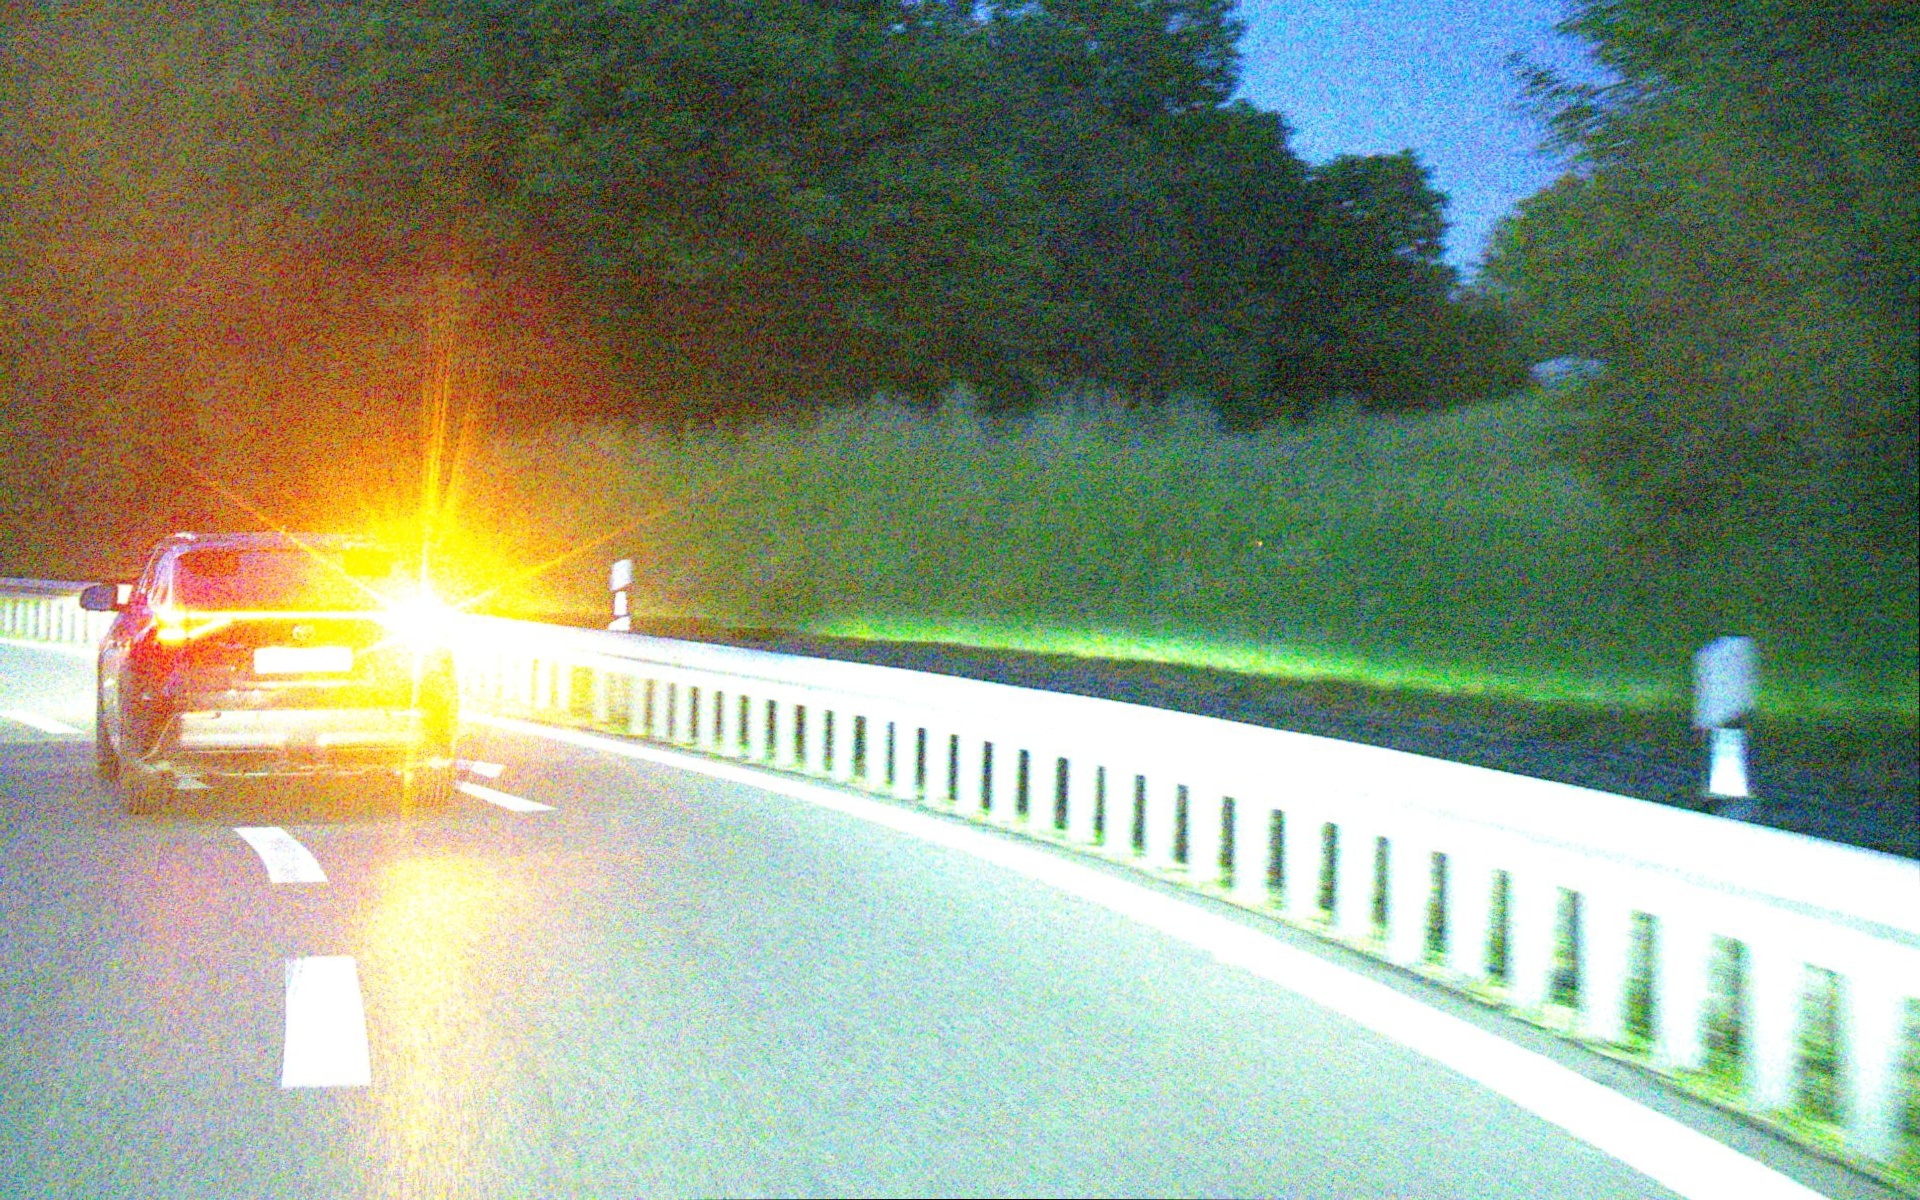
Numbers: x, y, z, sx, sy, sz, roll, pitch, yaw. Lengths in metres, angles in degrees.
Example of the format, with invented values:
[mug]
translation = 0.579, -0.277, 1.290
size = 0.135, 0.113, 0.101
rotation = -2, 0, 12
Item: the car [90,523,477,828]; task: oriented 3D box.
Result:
[car]
translation = -4.211, 0.378, 20.849
size = 1.900, 1.614, 4.557
rotation = -1, 1, -16
